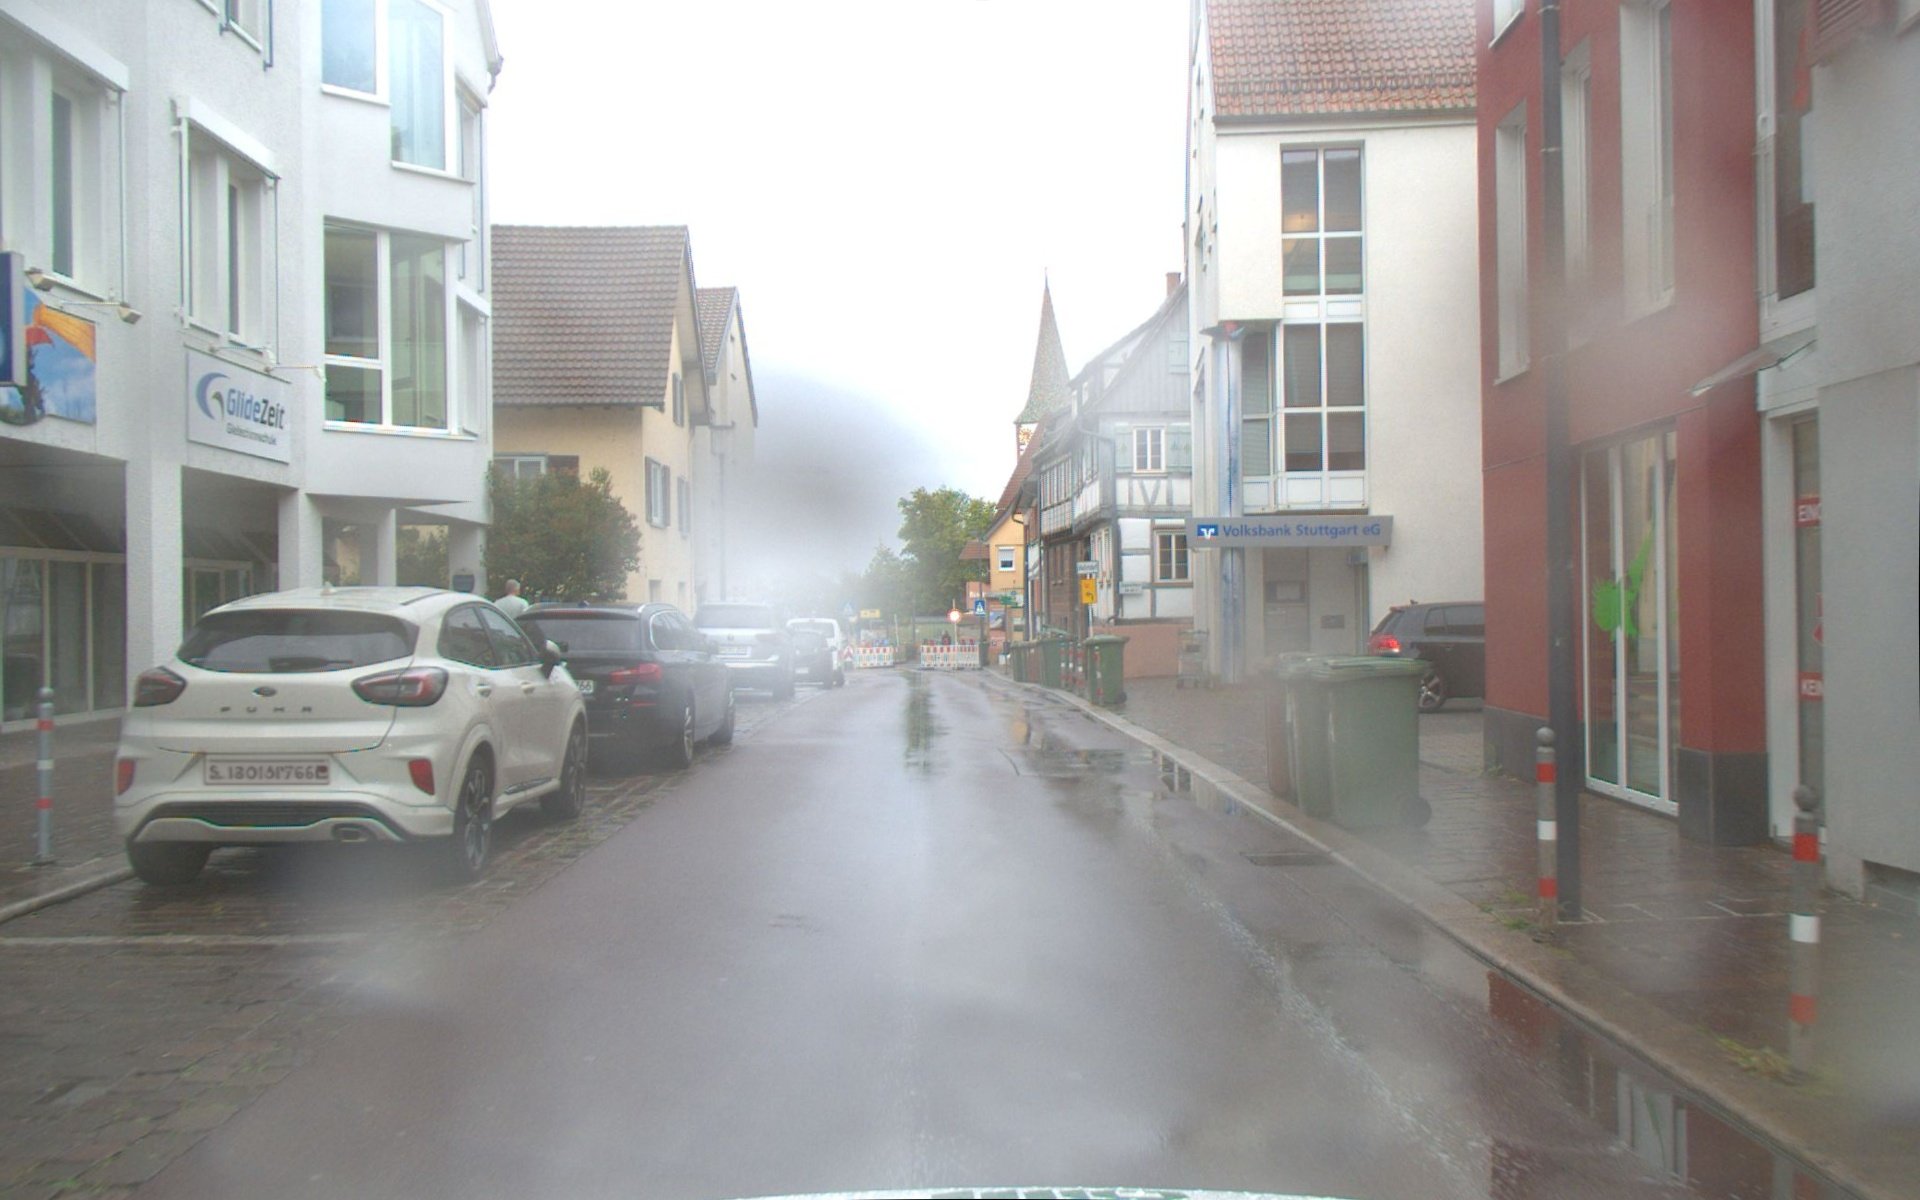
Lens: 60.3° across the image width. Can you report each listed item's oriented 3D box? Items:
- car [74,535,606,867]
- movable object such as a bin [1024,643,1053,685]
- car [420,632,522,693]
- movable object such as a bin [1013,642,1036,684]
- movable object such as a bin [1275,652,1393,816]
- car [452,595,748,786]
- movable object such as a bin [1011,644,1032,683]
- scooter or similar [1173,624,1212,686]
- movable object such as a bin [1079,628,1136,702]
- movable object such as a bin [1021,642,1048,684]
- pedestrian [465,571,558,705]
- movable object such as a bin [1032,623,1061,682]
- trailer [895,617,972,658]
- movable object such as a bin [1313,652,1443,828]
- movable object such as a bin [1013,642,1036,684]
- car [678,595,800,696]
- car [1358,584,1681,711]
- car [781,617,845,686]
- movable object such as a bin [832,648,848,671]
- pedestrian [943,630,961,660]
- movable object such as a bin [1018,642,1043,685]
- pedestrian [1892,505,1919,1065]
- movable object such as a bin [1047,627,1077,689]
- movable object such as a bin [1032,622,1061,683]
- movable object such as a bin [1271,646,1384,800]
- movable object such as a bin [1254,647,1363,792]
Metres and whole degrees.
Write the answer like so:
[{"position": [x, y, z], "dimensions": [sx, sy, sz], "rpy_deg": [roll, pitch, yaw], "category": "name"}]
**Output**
[{"position": [-3.382, 0.559, 9.909], "dimensions": [1.755, 1.578, 3.998], "rpy_deg": [0, -2, -2], "category": "car"}, {"position": [2.078, 1.691, 43.826], "dimensions": [0.665, 1.116, 0.649], "rpy_deg": [0, -2, -5], "category": "movable object such as a bin"}, {"position": [-12.044, 1.545, 40.939], "dimensions": [1.648, 1.413, 3.821], "rpy_deg": [0, -2, -5], "category": "car"}, {"position": [1.820, 1.782, 46.940], "dimensions": [0.624, 1.167, 0.580], "rpy_deg": [-1, -2, 3], "category": "movable object such as a bin"}, {"position": [2.623, 0.926, 11.660], "dimensions": [0.662, 1.103, 0.698], "rpy_deg": [-1, -1, 0], "category": "movable object such as a bin"}, {"position": [-3.281, 0.768, 16.040], "dimensions": [1.793, 1.525, 4.763], "rpy_deg": [-2, -1, 0], "category": "car"}, {"position": [1.826, 1.886, 49.225], "dimensions": [0.597, 1.147, 0.599], "rpy_deg": [-1, -2, -2], "category": "movable object such as a bin"}, {"position": [4.468, 1.065, 31.821], "dimensions": [0.651, 1.166, 1.446], "rpy_deg": [-1, -2, 5], "category": "scooter or similar"}, {"position": [2.370, 1.046, 26.625], "dimensions": [0.788, 1.151, 0.862], "rpy_deg": [-1, -2, -3], "category": "movable object such as a bin"}, {"position": [2.019, 1.714, 44.955], "dimensions": [0.656, 1.100, 0.587], "rpy_deg": [-2, -3, -3], "category": "movable object such as a bin"}, {"position": [-6.297, 0.526, 23.277], "dimensions": [1.014, 1.838, 1.116], "rpy_deg": [0, -1, -1], "category": "pedestrian"}, {"position": [1.937, 1.174, 36.963], "dimensions": [0.624, 1.313, 0.632], "rpy_deg": [-1, -2, 3], "category": "movable object such as a bin"}, {"position": [-2.048, 2.840, 125.308], "dimensions": [5.670, 2.999, 1.997], "rpy_deg": [0, -2, -7], "category": "trailer"}, {"position": [2.747, 0.905, 10.921], "dimensions": [0.662, 1.105, 0.718], "rpy_deg": [-1, -1, 0], "category": "movable object such as a bin"}, {"position": [1.805, 1.766, 46.325], "dimensions": [0.624, 1.167, 0.604], "rpy_deg": [-1, -2, 3], "category": "movable object such as a bin"}, {"position": [-3.753, 0.815, 28.719], "dimensions": [1.744, 1.596, 4.404], "rpy_deg": [-1, -2, -3], "category": "car"}, {"position": [7.599, 0.674, 22.849], "dimensions": [3.902, 1.541, 1.913], "rpy_deg": [-2, -3, 9], "category": "car"}, {"position": [-4.203, 1.499, 47.692], "dimensions": [1.689, 1.857, 4.424], "rpy_deg": [-1, -2, -4], "category": "car"}, {"position": [-5.664, 2.796, 78.173], "dimensions": [0.533, 1.051, 0.533], "rpy_deg": [-5, -4, 32], "category": "movable object such as a bin"}, {"position": [-0.491, 2.709, 100.303], "dimensions": [0.971, 1.790, 0.850], "rpy_deg": [0, -2, -8], "category": "pedestrian"}, {"position": [1.941, 1.758, 45.647], "dimensions": [0.625, 1.167, 0.631], "rpy_deg": [0, -2, -4], "category": "movable object such as a bin"}, {"position": [3.555, 0.547, 4.608], "dimensions": [1.154, 1.727, 1.176], "rpy_deg": [-2, -1, -4], "category": "pedestrian"}, {"position": [2.196, 1.256, 35.528], "dimensions": [0.624, 1.313, 0.632], "rpy_deg": [-1, -2, 3], "category": "movable object such as a bin"}, {"position": [1.901, 1.157, 36.276], "dimensions": [0.624, 1.313, 0.632], "rpy_deg": [-1, -2, 3], "category": "movable object such as a bin"}, {"position": [2.743, 0.909, 12.402], "dimensions": [0.695, 1.114, 0.614], "rpy_deg": [-1, -1, 0], "category": "movable object such as a bin"}, {"position": [2.739, 0.931, 13.052], "dimensions": [0.714, 1.100, 0.646], "rpy_deg": [-1, -1, 0], "category": "movable object such as a bin"}]
